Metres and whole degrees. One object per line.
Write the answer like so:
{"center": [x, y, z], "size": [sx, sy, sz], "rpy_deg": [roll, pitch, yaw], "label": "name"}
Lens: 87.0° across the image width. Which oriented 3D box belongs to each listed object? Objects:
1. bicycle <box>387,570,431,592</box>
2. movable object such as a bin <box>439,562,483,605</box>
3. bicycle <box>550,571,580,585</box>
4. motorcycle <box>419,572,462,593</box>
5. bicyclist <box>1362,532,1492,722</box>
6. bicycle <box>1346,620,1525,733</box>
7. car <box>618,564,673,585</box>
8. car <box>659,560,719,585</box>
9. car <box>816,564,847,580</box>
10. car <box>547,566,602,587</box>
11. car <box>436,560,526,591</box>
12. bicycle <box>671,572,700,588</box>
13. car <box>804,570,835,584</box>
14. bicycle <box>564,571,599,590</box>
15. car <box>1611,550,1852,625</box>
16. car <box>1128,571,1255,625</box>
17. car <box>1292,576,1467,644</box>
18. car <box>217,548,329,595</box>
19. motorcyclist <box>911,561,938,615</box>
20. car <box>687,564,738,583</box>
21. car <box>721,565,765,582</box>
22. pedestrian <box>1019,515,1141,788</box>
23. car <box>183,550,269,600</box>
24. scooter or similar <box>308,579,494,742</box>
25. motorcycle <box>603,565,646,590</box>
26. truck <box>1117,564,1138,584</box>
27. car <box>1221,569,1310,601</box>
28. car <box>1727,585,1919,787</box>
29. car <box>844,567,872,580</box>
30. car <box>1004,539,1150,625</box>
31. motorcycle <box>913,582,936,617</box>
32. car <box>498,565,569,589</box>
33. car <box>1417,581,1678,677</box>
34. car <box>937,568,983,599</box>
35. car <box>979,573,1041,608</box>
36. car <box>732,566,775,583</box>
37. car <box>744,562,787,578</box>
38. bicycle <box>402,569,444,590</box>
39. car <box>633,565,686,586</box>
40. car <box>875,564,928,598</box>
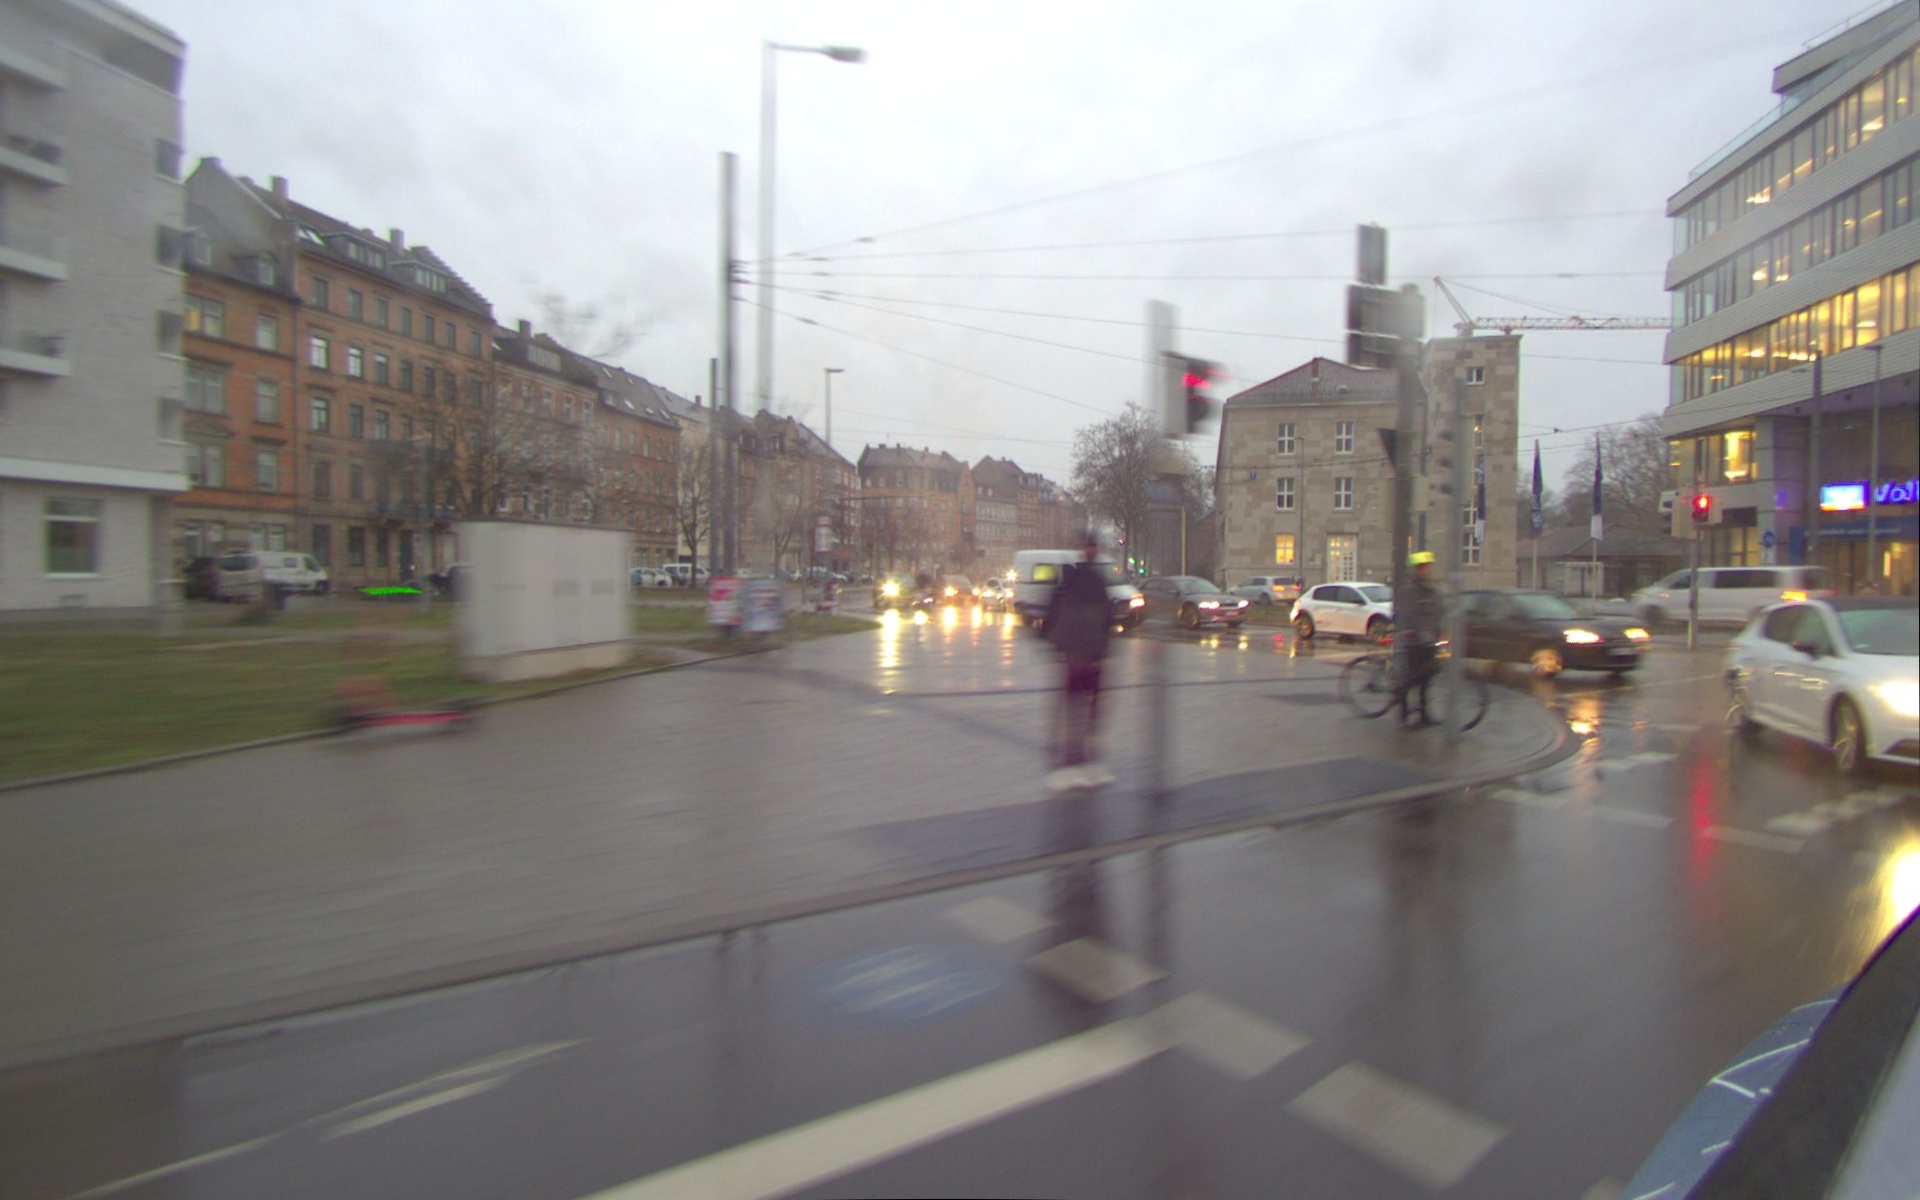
{"center": [-26.012, -0.908, 47.775], "size": [1.758, 0.943, 0.447], "rpy_deg": [2, 1, -11], "label": "bicycle"}
{"center": [-19.217, -0.643, 38.993], "size": [1.039, 1.595, 1.134], "rpy_deg": [1, 1, 19], "label": "movable object such as a bin"}
{"center": [-24.908, -1.399, 63.802], "size": [1.763, 0.828, 0.394], "rpy_deg": [2, 1, 4], "label": "bicycle"}
{"center": [-25.330, -0.863, 49.357], "size": [1.757, 0.943, 0.514], "rpy_deg": [2, 1, -16], "label": "motorcycle"}
{"center": [4.929, 0.256, 10.735], "size": [0.776, 1.914, 0.991], "rpy_deg": [0, 1, -15], "label": "bicyclist"}
{"center": [4.925, 0.746, 10.644], "size": [0.643, 0.985, 1.871], "rpy_deg": [0, 2, -15], "label": "bicycle"}
{"center": [-21.846, -1.742, 70.390], "size": [3.611, 1.417, 1.525], "rpy_deg": [0, 1, -16], "label": "car"}
{"center": [-20.411, -2.066, 76.147], "size": [4.254, 1.790, 1.785], "rpy_deg": [0, 1, -17], "label": "car"}
{"center": [-13.531, -2.960, 106.392], "size": [3.121, 1.644, 1.431], "rpy_deg": [0, 1, -8], "label": "car"}
{"center": [-24.907, -1.507, 65.518], "size": [3.231, 1.322, 1.525], "rpy_deg": [0, 1, -16], "label": "car"}
{"center": [-25.087, -1.279, 53.101], "size": [4.069, 1.589, 1.746], "rpy_deg": [0, 1, -18], "label": "car"}
{"center": [-17.862, -1.285, 65.879], "size": [1.768, 0.943, 0.444], "rpy_deg": [3, 1, 12], "label": "bicycle"}
{"center": [-14.412, -2.335, 103.516], "size": [3.121, 1.446, 1.431], "rpy_deg": [0, 1, -8], "label": "car"}
{"center": [-21.519, -1.122, 57.516], "size": [0.533, 1.031, 1.885], "rpy_deg": [3, 2, 32], "label": "bicycle"}
{"center": [23.477, -0.425, 31.142], "size": [1.913, 2.084, 5.673], "rpy_deg": [0, 2, -24], "label": "car"}
{"center": [7.306, -0.130, 32.438], "size": [1.788, 1.589, 4.371], "rpy_deg": [0, 2, -22], "label": "car"}
{"center": [10.437, 0.177, 25.483], "size": [1.728, 1.481, 3.925], "rpy_deg": [-2, 3, -26], "label": "car"}
{"center": [-34.270, -1.423, 50.665], "size": [1.968, 2.216, 4.647], "rpy_deg": [1, 2, 11], "label": "car"}
{"center": [-1.281, -0.426, 36.252], "size": [0.868, 1.905, 0.923], "rpy_deg": [0, 1, -9], "label": "motorcyclist"}
{"center": [-19.378, -2.066, 79.360], "size": [3.882, 1.462, 1.705], "rpy_deg": [0, 1, -12], "label": "car"}
{"center": [-18.129, -2.192, 84.589], "size": [3.539, 1.387, 1.621], "rpy_deg": [0, 1, -13], "label": "car"}
{"center": [0.855, 0.351, 7.375], "size": [0.760, 1.901, 0.636], "rpy_deg": [0, 1, -4], "label": "pedestrian"}
{"center": [-30.924, -1.075, 42.580], "size": [4.578, 1.966, 1.915], "rpy_deg": [2, 2, 40], "label": "car"}
{"center": [-4.502, 0.442, 8.222], "size": [0.332, 1.221, 1.290], "rpy_deg": [1, 2, 41], "label": "scooter or similar"}
{"center": [-20.275, -1.377, 61.184], "size": [2.312, 1.362, 0.885], "rpy_deg": [3, 2, -2], "label": "motorcycle"}
{"center": [17.842, -2.761, 107.897], "size": [1.812, 2.069, 3.981], "rpy_deg": [1, 2, 15], "label": "truck"}
{"center": [15.106, -0.766, 50.291], "size": [1.827, 1.504, 4.350], "rpy_deg": [0, 2, -24], "label": "car"}
{"center": [8.483, 0.601, 8.919], "size": [1.769, 1.396, 4.189], "rpy_deg": [-1, 1, 24], "label": "car"}
{"center": [-11.613, -3.026, 114.676], "size": [3.122, 1.431, 1.384], "rpy_deg": [0, 1, -7], "label": "car"}
{"center": [3.607, -0.640, 32.536], "size": [2.196, 2.493, 5.682], "rpy_deg": [-1, 2, -22], "label": "car"}
{"center": [-1.274, -0.037, 36.340], "size": [0.474, 1.198, 2.414], "rpy_deg": [0, 2, -10], "label": "motorcycle"}
{"center": [-24.411, -1.332, 58.085], "size": [3.610, 1.322, 1.672], "rpy_deg": [0, 2, -18], "label": "car"}
{"center": [10.131, 0.409, 17.798], "size": [1.688, 1.405, 3.831], "rpy_deg": [-1, 2, -17], "label": "car"}
{"center": [-0.023, -0.876, 52.345], "size": [1.839, 1.493, 4.177], "rpy_deg": [0, 1, -7], "label": "car"}
{"center": [2.182, -0.466, 45.024], "size": [1.655, 1.448, 3.354], "rpy_deg": [-1, 2, -18], "label": "car"}
{"center": [-17.829, -2.197, 87.288], "size": [3.539, 1.387, 1.621], "rpy_deg": [0, 1, -13], "label": "car"}
{"center": [-17.364, -2.655, 90.330], "size": [3.538, 1.387, 1.621], "rpy_deg": [0, 1, -18], "label": "car"}
{"center": [-26.928, -1.035, 50.757], "size": [1.758, 0.943, 0.447], "rpy_deg": [2, 1, -11], "label": "bicycle"}
{"center": [-21.691, -1.778, 73.126], "size": [3.611, 1.454, 1.525], "rpy_deg": [0, 1, -16], "label": "car"}
{"center": [-2.950, -0.966, 50.160], "size": [1.863, 1.619, 4.016], "rpy_deg": [0, 2, -15], "label": "car"}
